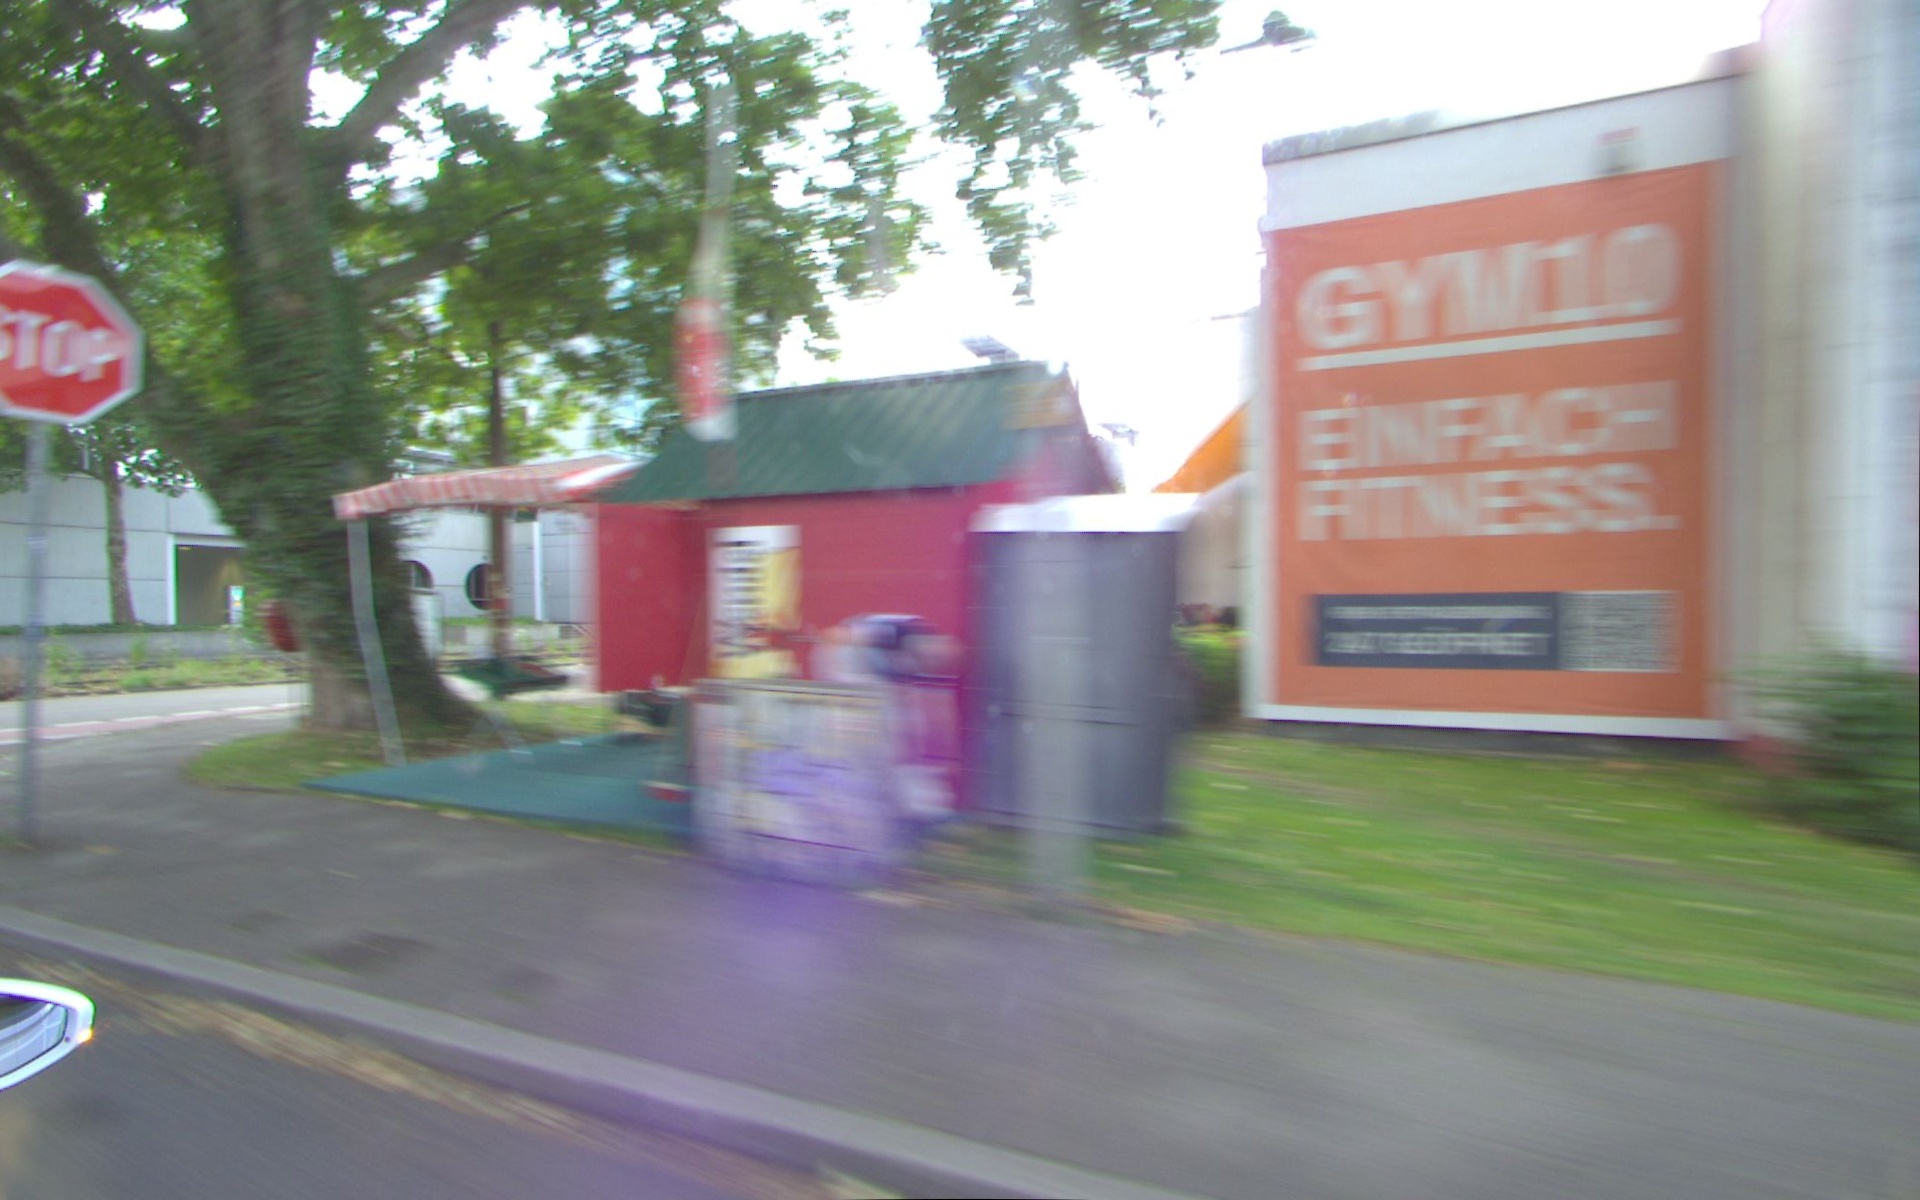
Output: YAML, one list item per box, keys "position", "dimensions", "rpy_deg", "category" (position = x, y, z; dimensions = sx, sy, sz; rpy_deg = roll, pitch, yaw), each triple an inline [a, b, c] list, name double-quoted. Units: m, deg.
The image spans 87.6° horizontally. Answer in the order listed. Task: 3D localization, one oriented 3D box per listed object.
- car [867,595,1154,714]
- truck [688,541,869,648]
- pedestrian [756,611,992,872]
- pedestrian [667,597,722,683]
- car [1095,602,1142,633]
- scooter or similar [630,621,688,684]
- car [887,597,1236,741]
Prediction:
- position: [0.757, 0.742, 14.974]
  dimensions: [3.933, 1.589, 1.740]
  rpy_deg: [0, 0, 24]
  category: "car"
- position: [-7.238, -0.170, 41.964]
  dimensions: [2.752, 3.948, 9.519]
  rpy_deg: [0, 0, 22]
  category: "truck"
- position: [-0.478, 0.733, 5.794]
  dimensions: [0.951, 1.331, 1.011]
  rpy_deg: [0, 0, 33]
  category: "pedestrian"
- position: [-5.512, 0.822, 20.813]
  dimensions: [0.707, 1.736, 0.963]
  rpy_deg: [0, 0, 18]
  category: "pedestrian"
- position: [9.285, 1.004, 58.459]
  dimensions: [1.643, 1.708, 3.886]
  rpy_deg: [0, 0, 26]
  category: "car"
- position: [-5.975, 1.020, 19.932]
  dimensions: [0.635, 1.215, 1.025]
  rpy_deg: [0, 0, 19]
  category: "scooter or similar"
- position: [1.218, 0.743, 12.376]
  dimensions: [3.939, 1.532, 1.738]
  rpy_deg: [0, 0, 29]
  category: "car"
